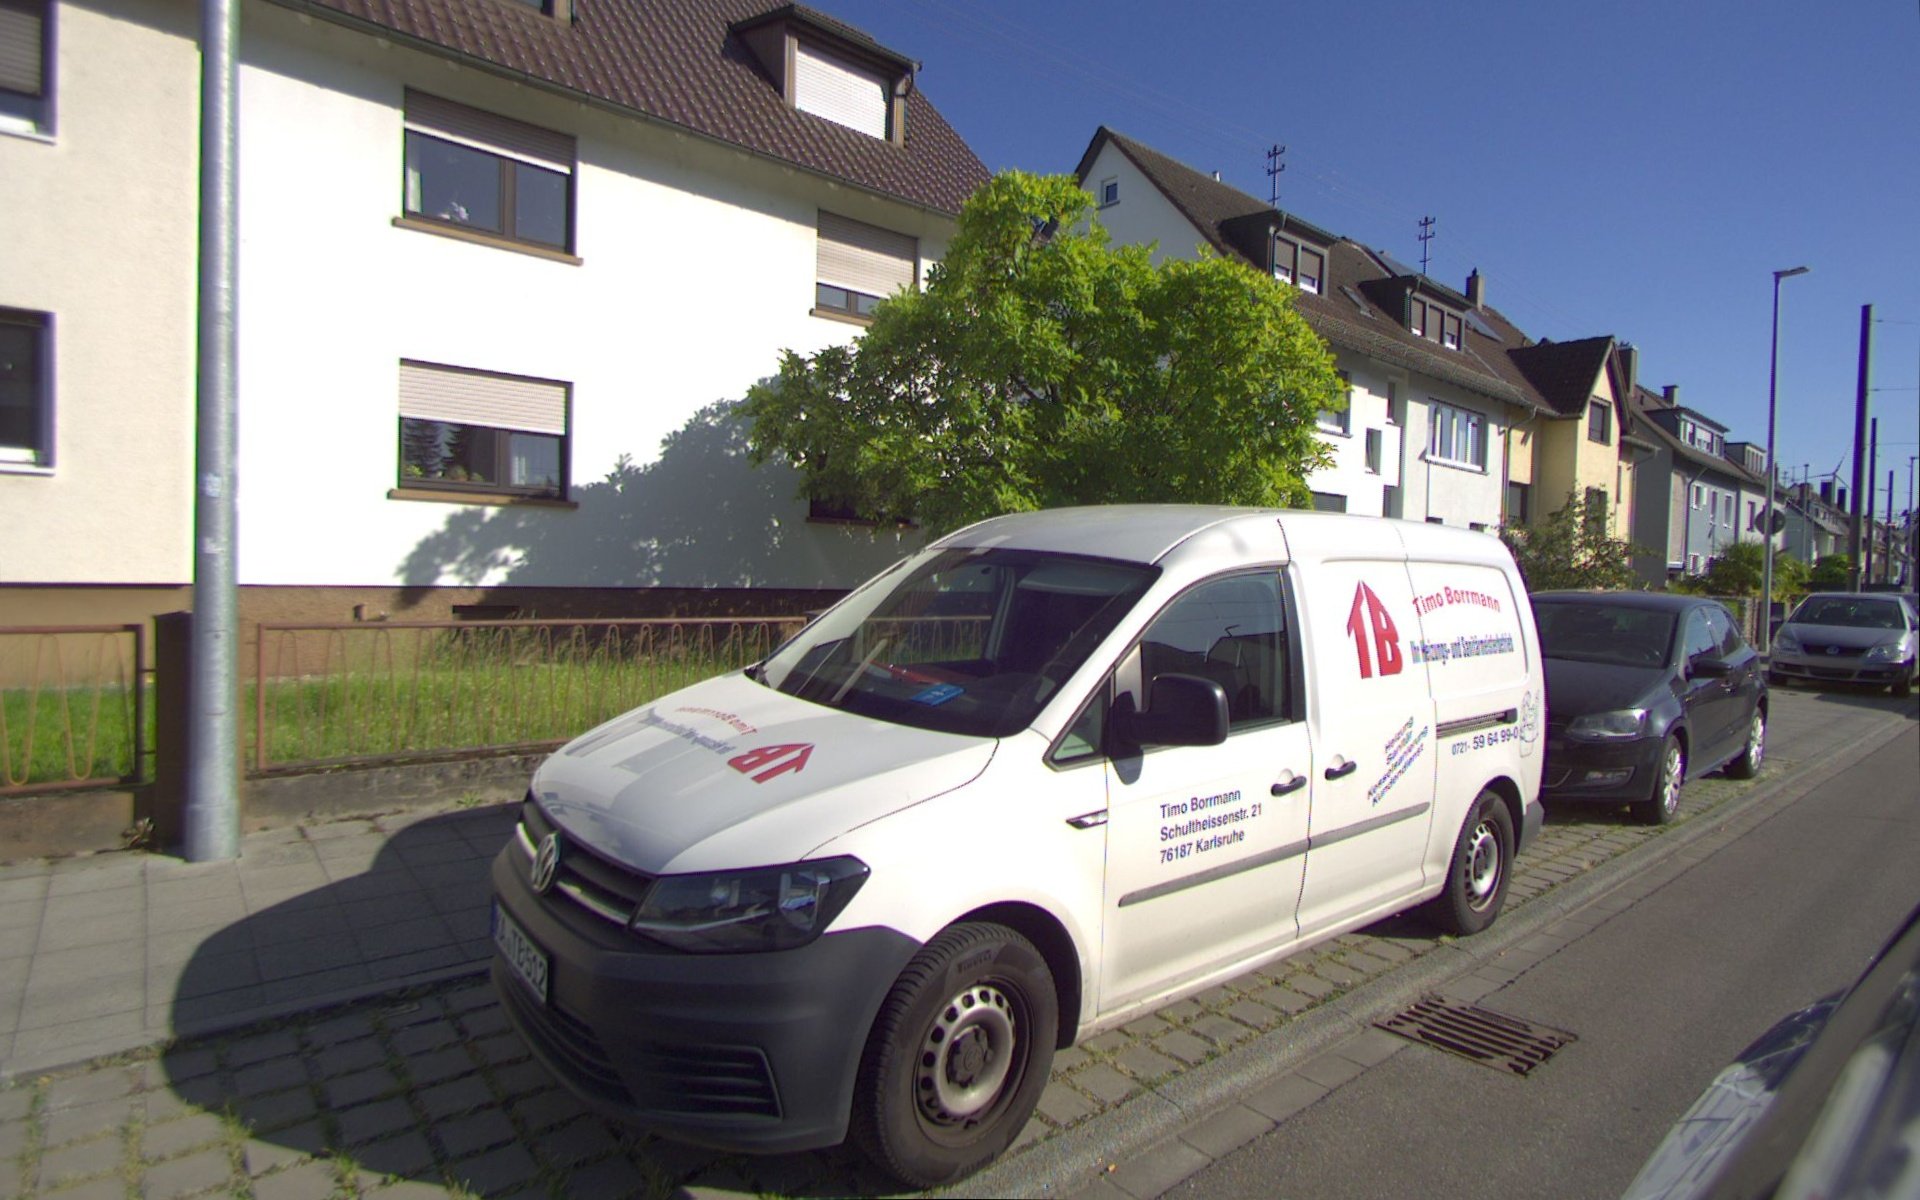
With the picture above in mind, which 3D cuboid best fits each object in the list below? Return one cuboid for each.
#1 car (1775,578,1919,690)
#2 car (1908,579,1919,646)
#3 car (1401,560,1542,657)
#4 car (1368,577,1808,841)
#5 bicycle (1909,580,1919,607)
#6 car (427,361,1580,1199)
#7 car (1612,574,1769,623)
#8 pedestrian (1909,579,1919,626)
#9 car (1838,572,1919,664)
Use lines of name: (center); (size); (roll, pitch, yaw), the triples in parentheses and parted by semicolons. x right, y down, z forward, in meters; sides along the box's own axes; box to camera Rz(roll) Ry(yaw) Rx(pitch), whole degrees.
car: (14.325, 0.423, 15.941); (4.374, 1.493, 1.618); (-1, 3, -42)
car: (26.275, 0.332, 26.360); (4.395, 1.679, 1.858); (0, 3, -41)
car: (9.226, 0.048, 18.593); (1.979, 1.462, 4.843); (3, 3, 24)
car: (4.969, 0.592, 7.784); (4.053, 1.471, 1.675); (-1, 3, -40)
bicycle: (35.947, -0.234, 37.692); (1.534, 0.991, 0.602); (-1, 4, -39)
car: (0.622, 0.420, 3.995); (4.572, 1.798, 1.694); (0, 2, -40)
car: (25.867, -0.078, 35.925); (1.867, 1.485, 4.173); (1, 2, -41)
pedestrian: (35.618, 0.097, 37.434); (0.702, 1.744, 0.584); (0, 2, -40)
car: (18.452, 0.326, 19.464); (3.767, 1.566, 1.671); (0, 4, -40)
